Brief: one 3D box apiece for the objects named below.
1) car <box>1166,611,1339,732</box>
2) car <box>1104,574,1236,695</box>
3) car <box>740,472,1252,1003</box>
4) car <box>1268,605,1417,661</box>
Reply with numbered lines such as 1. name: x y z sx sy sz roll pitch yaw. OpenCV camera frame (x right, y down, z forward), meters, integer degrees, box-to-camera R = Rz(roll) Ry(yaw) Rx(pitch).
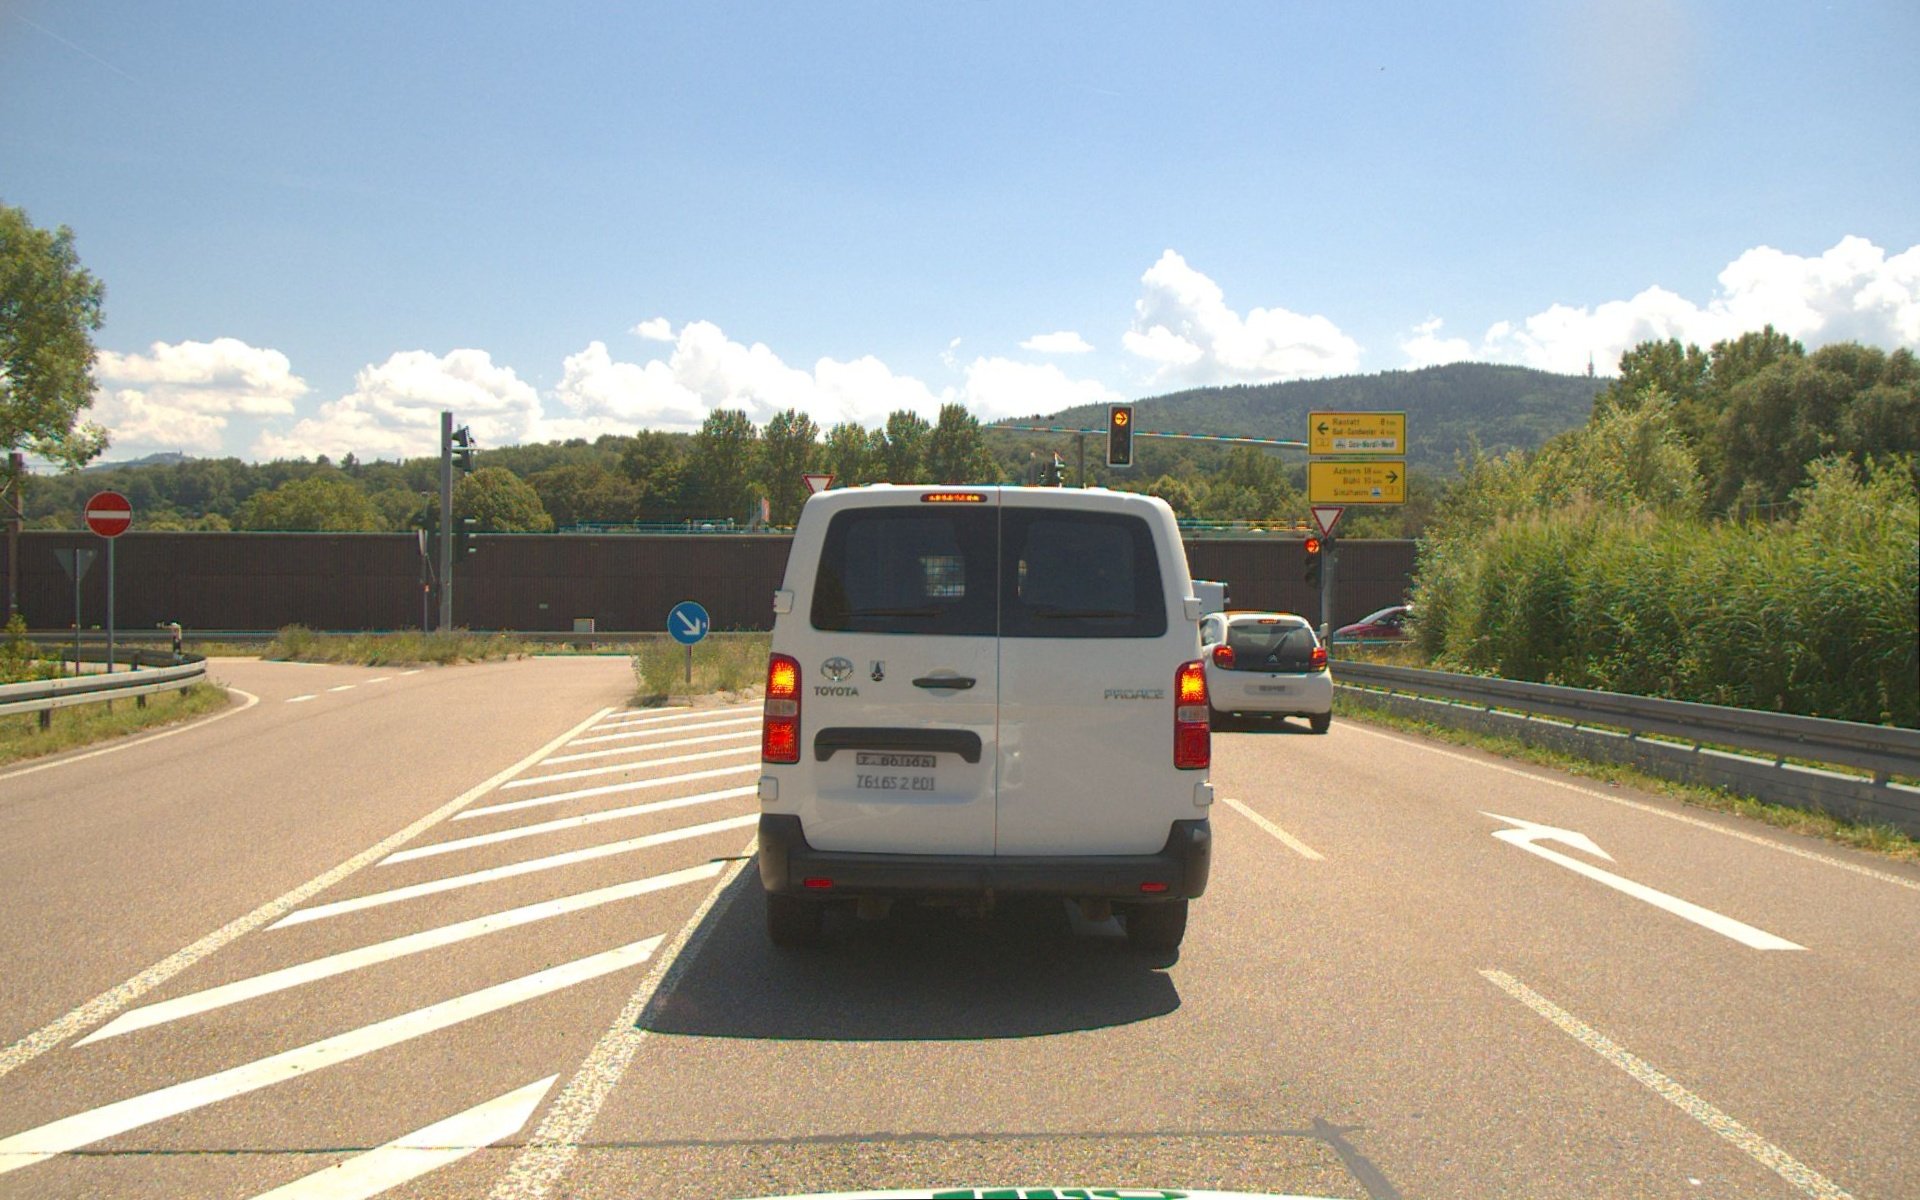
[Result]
1. car: 3.797 0.882 21.920 1.622 1.456 3.365 1 0 -1
2. car: 3.797 0.612 30.666 1.889 2.035 4.838 1 0 1
3. car: 0.101 0.519 8.064 1.848 1.919 3.999 1 0 -1
4. car: 12.069 1.038 52.370 4.224 1.685 1.998 1 0 -4
